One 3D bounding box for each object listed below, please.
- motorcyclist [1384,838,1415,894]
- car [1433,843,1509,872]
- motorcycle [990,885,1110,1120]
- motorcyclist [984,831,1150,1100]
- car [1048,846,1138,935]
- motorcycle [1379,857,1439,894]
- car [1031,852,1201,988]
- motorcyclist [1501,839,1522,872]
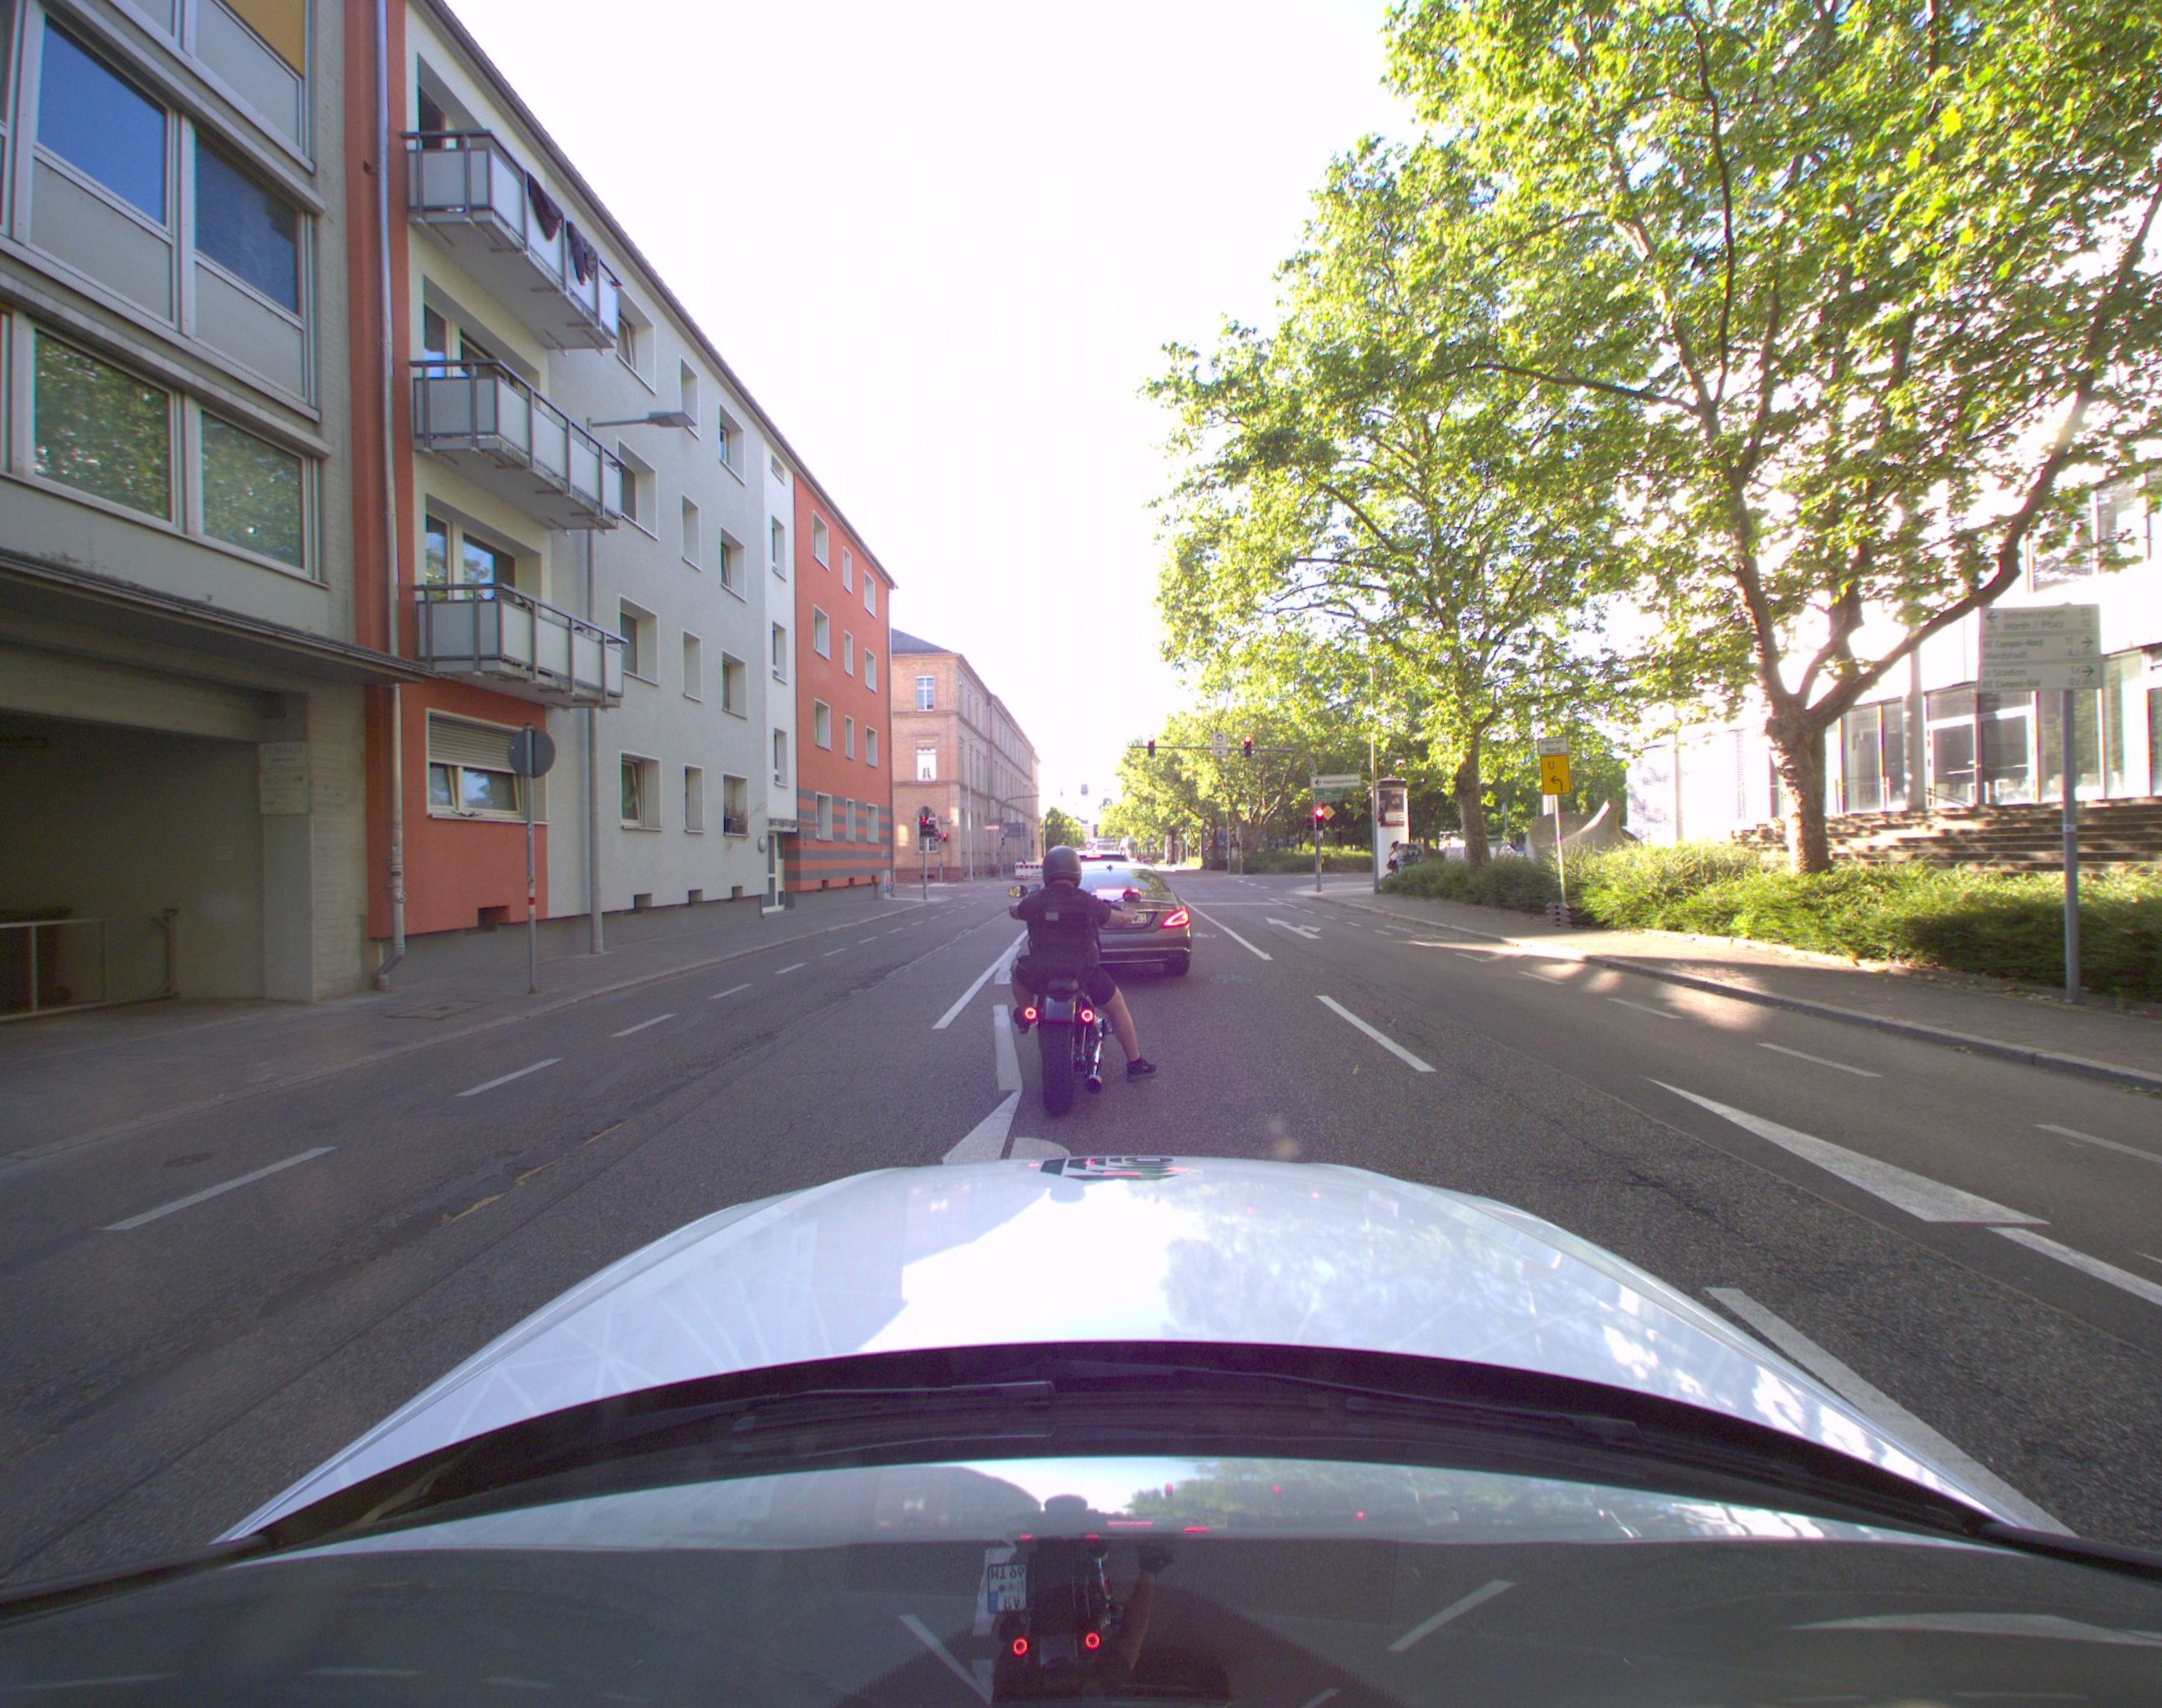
[{"bbox_3d":[10.770,0.397,27.570,0.818,1.863,0.673,0,-1,7],"label":"motorcyclist"},{"bbox_3d":[24.633,0.211,51.524,3.974,1.772,1.738,-1,0,-1],"label":"car"},{"bbox_3d":[-0.140,0.862,5.544,0.657,1.240,2.058,0,-1,2],"label":"motorcycle"},{"bbox_3d":[-0.069,0.673,5.451,0.986,1.611,1.121,0,-1,1],"label":"motorcyclist"},{"bbox_3d":[0.288,0.692,17.097,1.645,1.652,4.002,0,-1,2],"label":"car"},{"bbox_3d":[11.074,0.715,27.546,1.771,1.243,0.724,0,-1,7],"label":"motorcycle"},{"bbox_3d":[0.263,0.747,11.246,1.821,1.486,4.325,0,-1,-5],"label":"car"},{"bbox_3d":[25.021,0.068,47.356,0.978,1.876,0.377,-1,-1,6],"label":"motorcyclist"}]
